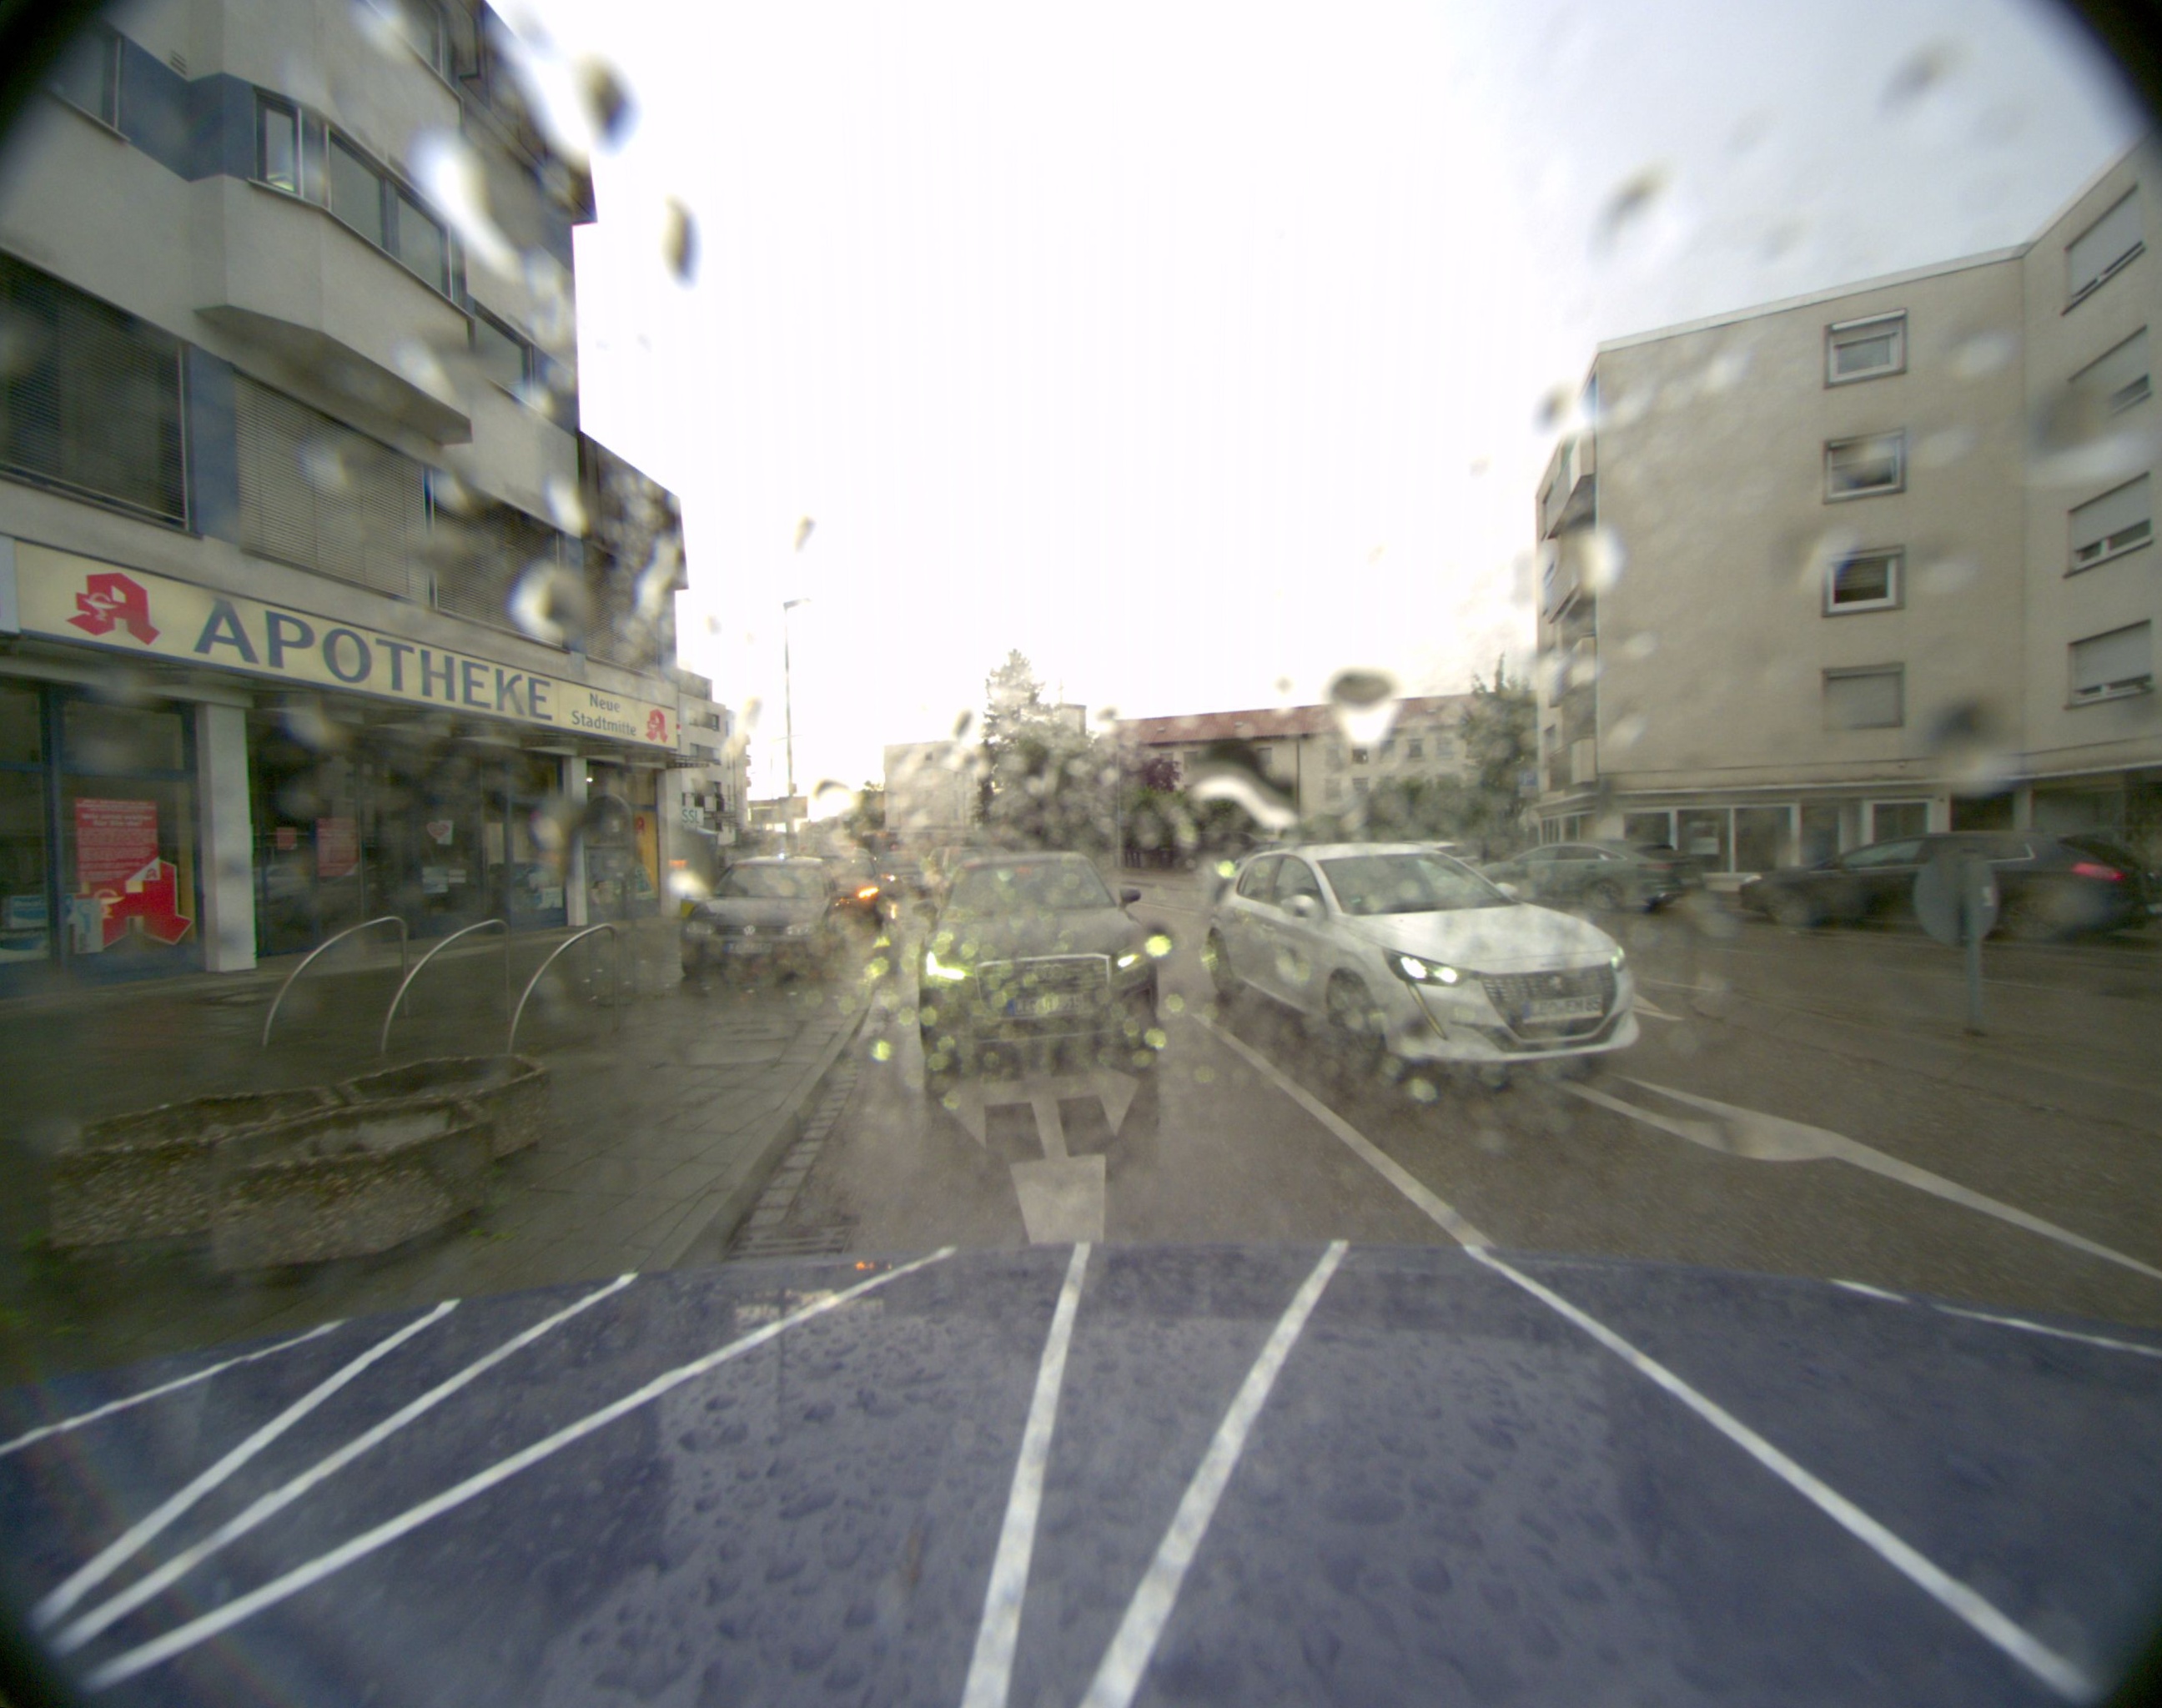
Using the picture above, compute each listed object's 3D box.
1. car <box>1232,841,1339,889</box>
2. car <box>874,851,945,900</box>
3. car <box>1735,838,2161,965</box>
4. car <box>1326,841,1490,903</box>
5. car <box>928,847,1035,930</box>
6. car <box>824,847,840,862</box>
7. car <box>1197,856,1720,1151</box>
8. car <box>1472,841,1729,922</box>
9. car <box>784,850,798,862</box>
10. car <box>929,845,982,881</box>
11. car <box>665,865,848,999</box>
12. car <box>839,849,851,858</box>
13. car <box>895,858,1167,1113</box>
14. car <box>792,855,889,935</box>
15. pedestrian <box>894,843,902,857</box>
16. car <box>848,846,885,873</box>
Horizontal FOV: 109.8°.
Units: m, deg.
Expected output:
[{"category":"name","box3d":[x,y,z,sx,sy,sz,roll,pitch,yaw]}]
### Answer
[{"category":"car","box3d":[7.019,0.310,26.492,1.636,1.497,3.873,-2,2,-21]},{"category":"car","box3d":[-5.798,0.638,25.312,1.803,1.361,3.965,-2,2,-20]},{"category":"car","box3d":[12.777,0.528,11.366,1.839,1.452,4.179,-3,2,-21]},{"category":"car","box3d":[8.960,0.412,21.246,1.639,1.491,4.337,-2,2,-22]},{"category":"car","box3d":[-2.261,0.640,16.323,1.735,1.519,4.058,-1,1,-15]},{"category":"car","box3d":[-29.652,0.013,90.374,1.746,1.631,3.992,-2,2,-19]},{"category":"car","box3d":[2.378,0.788,6.012,1.744,1.401,3.892,-3,1,-9]},{"category":"car","box3d":[10.904,0.468,16.344,1.839,1.426,4.265,-3,2,-22]},{"category":"car","box3d":[-43.134,0.267,112.973,1.747,1.631,3.992,-2,2,-22]},{"category":"car","box3d":[-5.773,0.351,34.691,1.753,1.446,3.806,-2,2,-19]},{"category":"car","box3d":[-4.156,0.895,10.296,1.656,1.364,3.726,1,1,-13]},{"category":"car","box3d":[-42.174,-0.144,135.738,1.874,1.429,3.733,-2,2,-21]},{"category":"car","box3d":[-0.618,0.851,6.961,1.735,1.436,4.042,-2,2,-9]},{"category":"car","box3d":[-5.045,0.776,16.375,1.660,1.416,3.994,-1,1,-13]},{"category":"pedestrian","box3d":[-23.929,-0.518,99.455,0.857,1.726,0.834,-2,3,-30]},{"category":"car","box3d":[-14.116,0.340,50.182,2.000,1.606,3.995,-3,2,-13]}]
